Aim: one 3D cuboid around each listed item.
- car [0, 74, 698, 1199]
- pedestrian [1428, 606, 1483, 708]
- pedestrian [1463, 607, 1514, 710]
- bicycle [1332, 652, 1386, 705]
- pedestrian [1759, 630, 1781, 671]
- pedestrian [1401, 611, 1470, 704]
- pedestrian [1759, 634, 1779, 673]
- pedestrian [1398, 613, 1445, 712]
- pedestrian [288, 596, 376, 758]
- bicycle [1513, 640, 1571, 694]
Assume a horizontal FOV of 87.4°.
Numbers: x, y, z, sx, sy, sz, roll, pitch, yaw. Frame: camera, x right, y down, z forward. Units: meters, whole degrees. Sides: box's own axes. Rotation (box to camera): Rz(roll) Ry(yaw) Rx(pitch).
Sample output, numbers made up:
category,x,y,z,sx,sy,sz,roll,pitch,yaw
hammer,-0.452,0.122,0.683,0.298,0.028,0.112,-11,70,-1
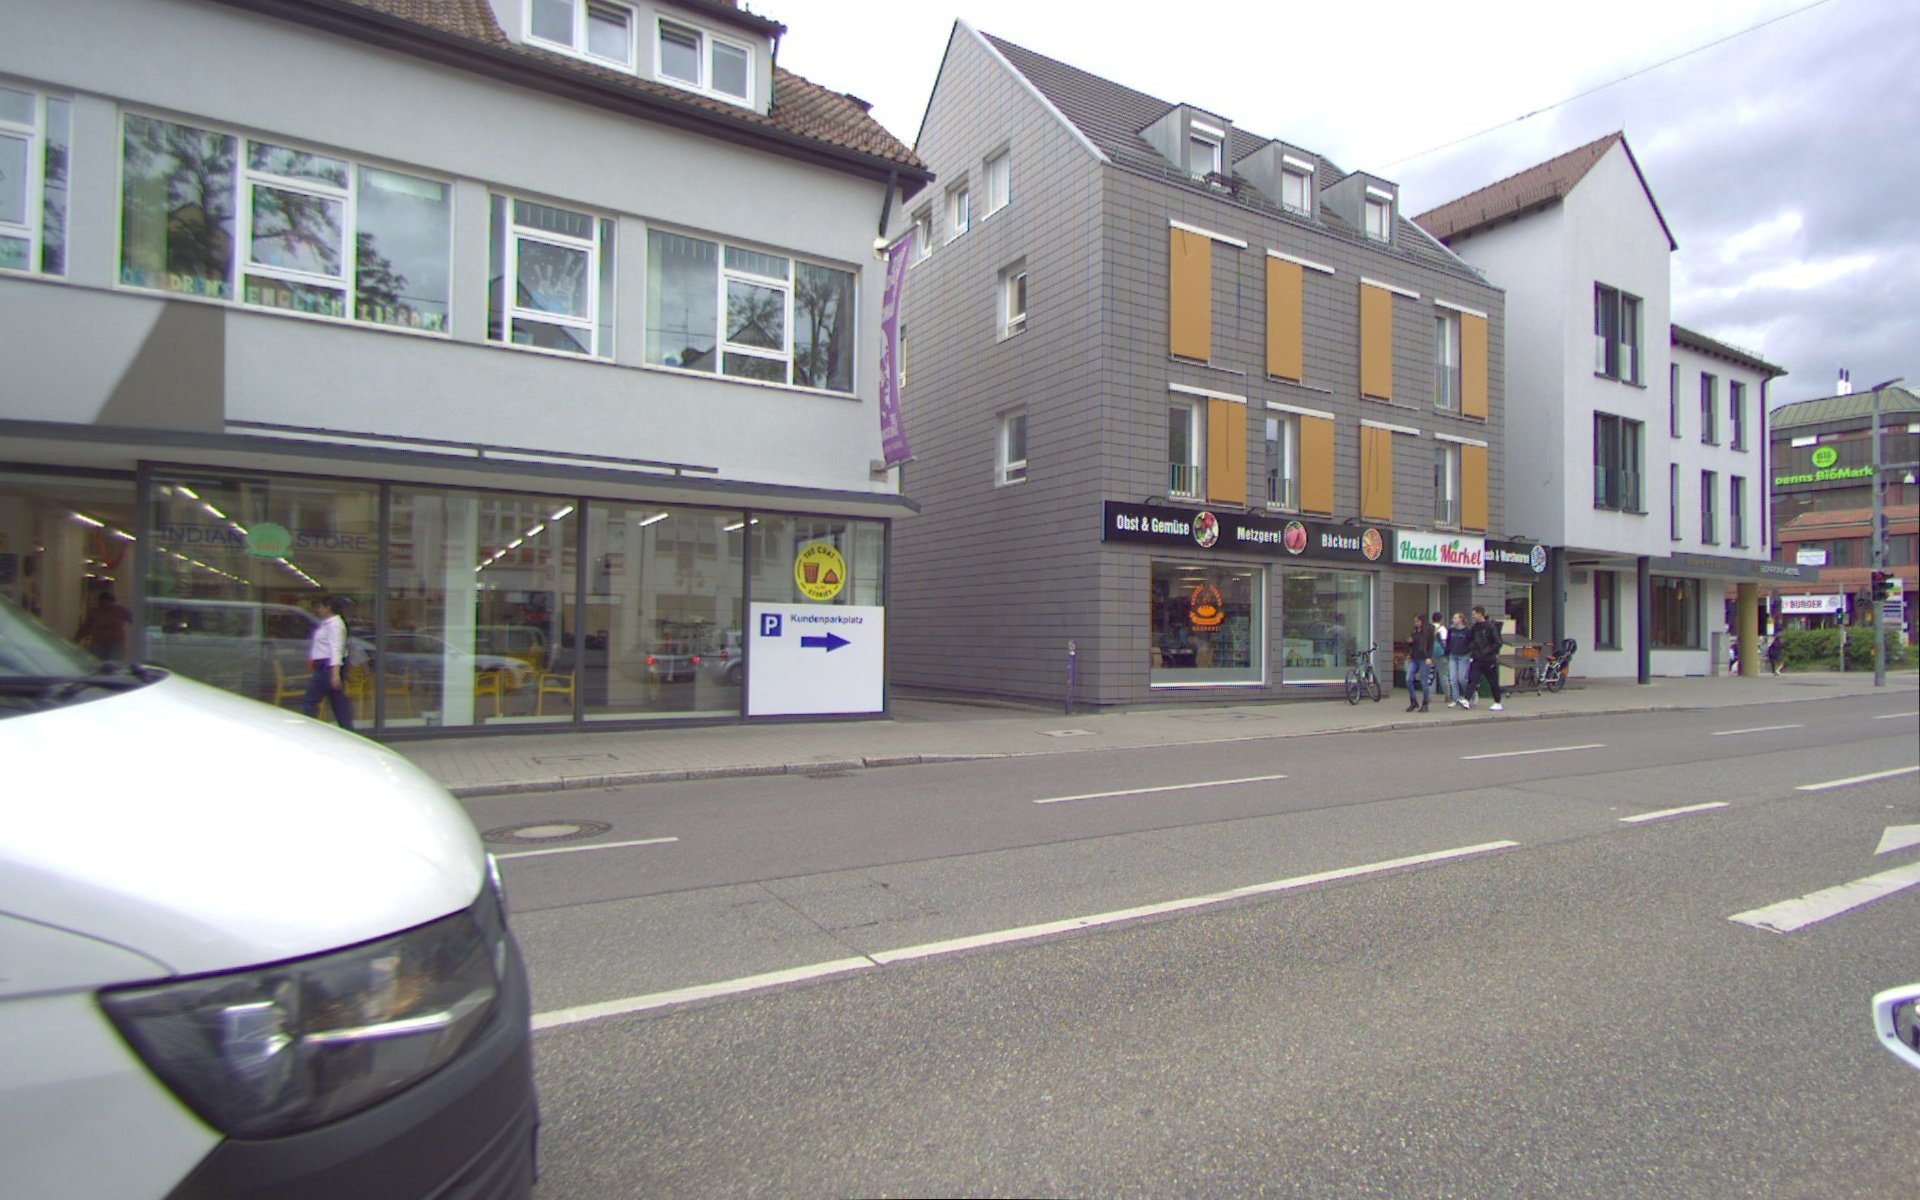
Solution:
category,x,y,z,sx,sy,sz,roll,pitch,yaw
car,-2.875,0.450,0.941,4.795,1.985,1.817,1,-1,-30
pedestrian,9.114,1.034,18.492,0.641,1.814,0.678,1,-1,-31
pedestrian,9.425,1.031,17.916,0.640,1.799,0.565,1,-1,-35
bicycle,7.608,1.479,19.128,1.472,0.966,0.323,2,-2,-42
pedestrian,33.725,2.099,41.827,0.694,1.680,0.936,0,-1,39
pedestrian,9.271,1.100,19.577,0.969,1.728,0.750,1,2,-30
pedestrian,35.108,2.303,43.588,0.654,1.671,0.790,0,-1,39
pedestrian,7.961,1.056,17.311,0.643,1.672,0.557,0,-1,36
pedestrian,-6.659,0.793,10.687,0.744,1.631,0.725,1,-1,-30
bicycle,13.268,1.507,22.886,1.807,1.201,0.384,1,-2,-34
